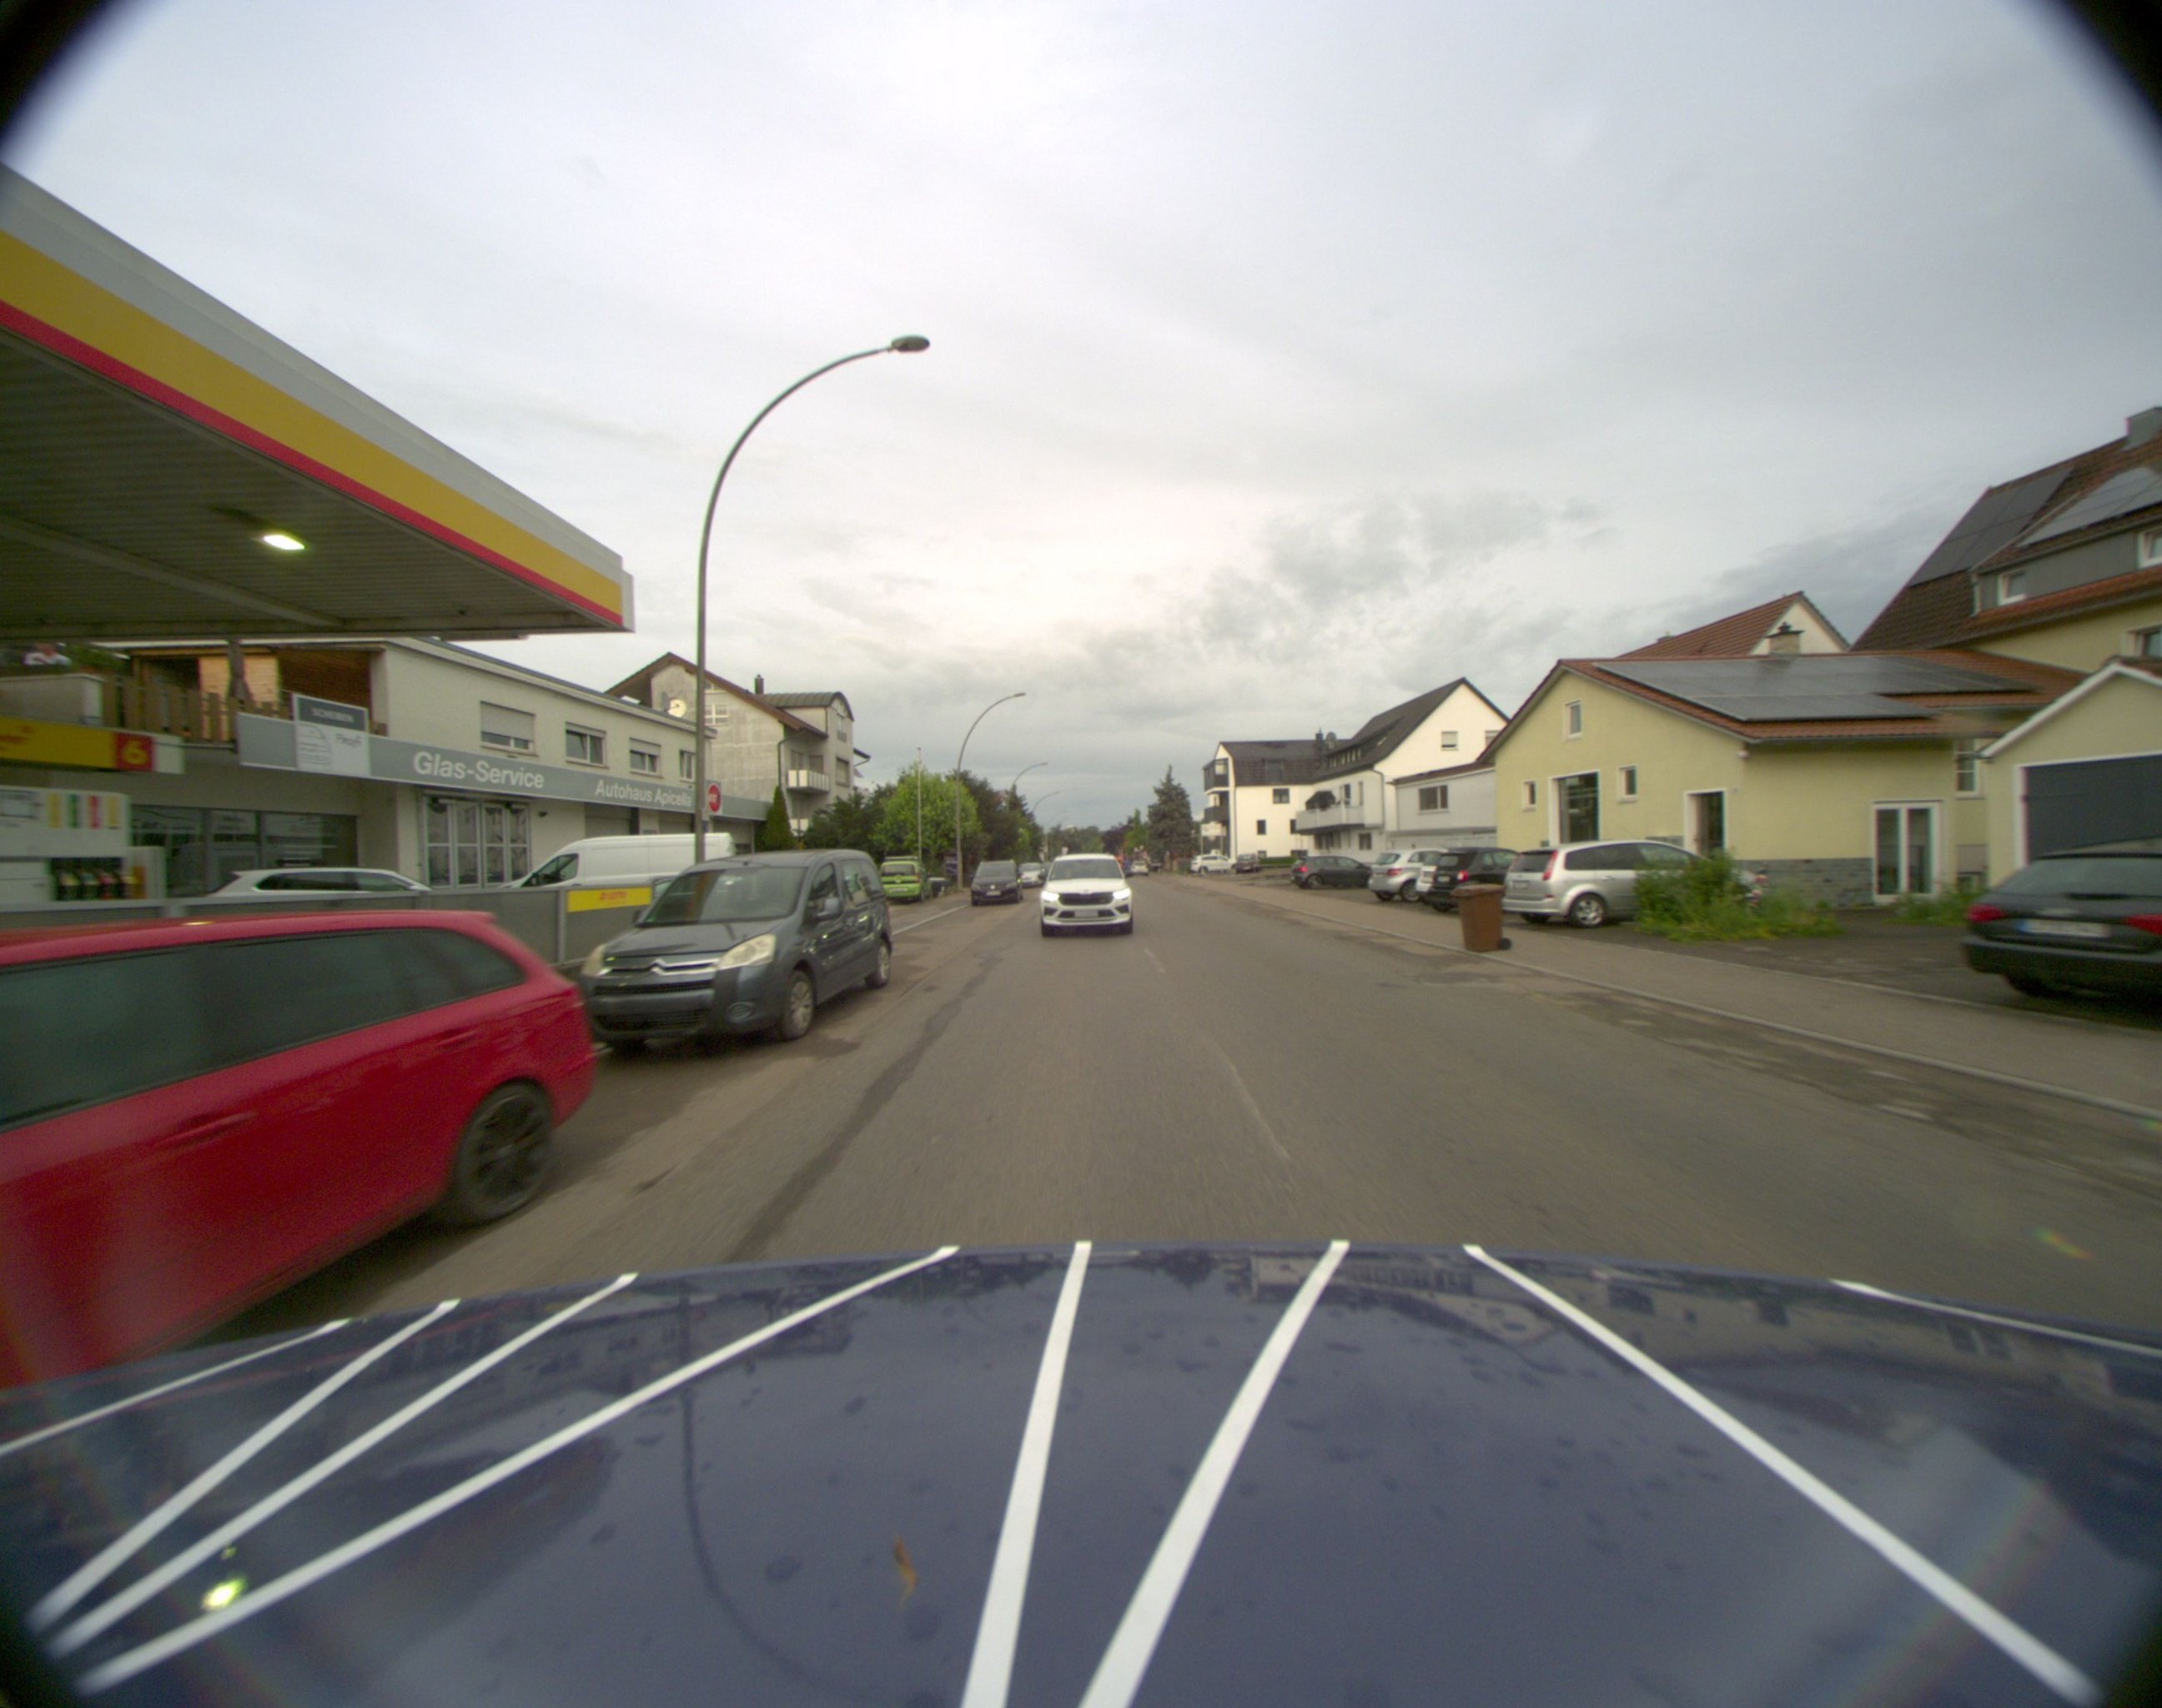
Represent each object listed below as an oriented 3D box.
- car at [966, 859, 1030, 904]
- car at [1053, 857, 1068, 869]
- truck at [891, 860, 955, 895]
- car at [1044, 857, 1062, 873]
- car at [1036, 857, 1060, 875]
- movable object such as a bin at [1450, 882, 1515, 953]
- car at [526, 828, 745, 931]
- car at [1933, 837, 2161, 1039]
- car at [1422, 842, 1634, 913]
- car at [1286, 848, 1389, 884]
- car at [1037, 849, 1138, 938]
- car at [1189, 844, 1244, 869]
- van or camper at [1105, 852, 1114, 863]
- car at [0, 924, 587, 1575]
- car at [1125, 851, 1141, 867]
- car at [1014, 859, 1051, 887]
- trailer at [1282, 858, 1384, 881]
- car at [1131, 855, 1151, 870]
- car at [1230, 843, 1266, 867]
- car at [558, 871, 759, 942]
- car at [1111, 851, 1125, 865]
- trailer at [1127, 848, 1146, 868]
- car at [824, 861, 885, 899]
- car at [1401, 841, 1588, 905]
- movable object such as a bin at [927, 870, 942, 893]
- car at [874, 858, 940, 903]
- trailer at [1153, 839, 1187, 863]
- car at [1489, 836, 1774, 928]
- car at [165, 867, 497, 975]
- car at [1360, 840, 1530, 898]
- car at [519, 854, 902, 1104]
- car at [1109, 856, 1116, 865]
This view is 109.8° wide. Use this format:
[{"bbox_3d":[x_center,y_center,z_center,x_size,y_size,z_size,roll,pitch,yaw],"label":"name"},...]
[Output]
[{"bbox_3d":[-3.105,0.999,29.157,1.999,1.586,4.000,-1,0,-1],"label":"car"},{"bbox_3d":[-2.561,1.100,94.552,1.677,1.455,3.690,-3,0,1],"label":"car"},{"bbox_3d":[-7.280,1.080,35.180,2.560,1.521,1.327,-1,1,8],"label":"truck"},{"bbox_3d":[-2.678,1.027,73.886,1.657,1.431,4.043,-1,0,-2],"label":"car"},{"bbox_3d":[-2.757,0.994,64.413,1.756,1.410,4.110,-1,0,1],"label":"car"},{"bbox_3d":[6.535,1.020,12.400,0.597,1.051,0.687,-6,-1,1],"label":"movable object such as a bin"},{"bbox_3d":[-11.941,0.621,20.829,4.809,2.506,2.243,-2,0,-21],"label":"car"},{"bbox_3d":[9.880,0.556,6.171,4.095,1.405,1.713,-3,0,-2],"label":"car"},{"bbox_3d":[10.577,0.523,18.146,4.096,1.494,1.755,-2,0,-5],"label":"car"},{"bbox_3d":[11.127,0.522,33.134,3.883,1.430,1.768,-1,0,-1],"label":"car"},{"bbox_3d":[0.146,0.763,16.886,1.884,1.650,4.831,-1,0,1],"label":"car"},{"bbox_3d":[11.140,0.185,62.567,3.997,1.637,2.000,-5,0,-1],"label":"car"},{"bbox_3d":[6.185,0.759,163.943,1.811,2.328,4.000,-2,0,2],"label":"van or camper"},{"bbox_3d":[-3.469,1.089,1.991,1.660,1.368,4.024,-2,0,0],"label":"car"},{"bbox_3d":[6.879,0.631,100.814,1.998,2.112,4.755,-1,0,2],"label":"car"},{"bbox_3d":[-2.882,1.089,45.849,1.741,1.493,3.882,-3,0,2],"label":"car"},{"bbox_3d":[11.868,0.726,35.902,4.208,0.937,1.794,-2,0,-2],"label":"trailer"},{"bbox_3d":[6.015,0.821,76.282,1.740,1.496,3.871,-1,0,1],"label":"car"},{"bbox_3d":[12.599,0.070,57.608,1.824,1.521,4.000,-7,0,3],"label":"car"},{"bbox_3d":[-10.253,1.201,18.596,4.007,1.367,1.775,-2,1,-39],"label":"car"},{"bbox_3d":[6.484,0.658,132.469,2.264,2.275,4.531,1,0,0],"label":"car"},{"bbox_3d":[6.020,0.438,82.944,1.721,2.114,4.006,-2,1,1],"label":"trailer"},{"bbox_3d":[-9.840,1.087,33.265,1.752,1.510,3.731,1,0,-3],"label":"car"},{"bbox_3d":[11.134,0.493,20.621,4.095,1.524,1.813,-2,0,-3],"label":"car"},{"bbox_3d":[-7.044,1.323,36.606,0.576,1.069,0.682,-1,1,0],"label":"movable object such as a bin"},{"bbox_3d":[-7.113,1.056,31.498,1.999,1.673,3.999,-2,0,-4],"label":"car"},{"bbox_3d":[11.517,-0.384,98.360,4.060,3.029,2.168,-2,1,-1],"label":"trailer"},{"bbox_3d":[10.269,0.490,14.389,4.095,1.505,1.883,-2,0,-3],"label":"car"},{"bbox_3d":[-14.429,1.164,14.936,1.994,1.631,4.370,-1,1,44],"label":"car"},{"bbox_3d":[10.786,0.424,22.698,4.096,1.524,1.999,-2,0,-5],"label":"car"},{"bbox_3d":[-3.285,0.937,7.890,1.660,1.728,4.444,-4,0,0],"label":"car"},{"bbox_3d":[8.249,1.811,200.222,1.659,2.220,3.744,-2,1,1],"label":"car"}]
